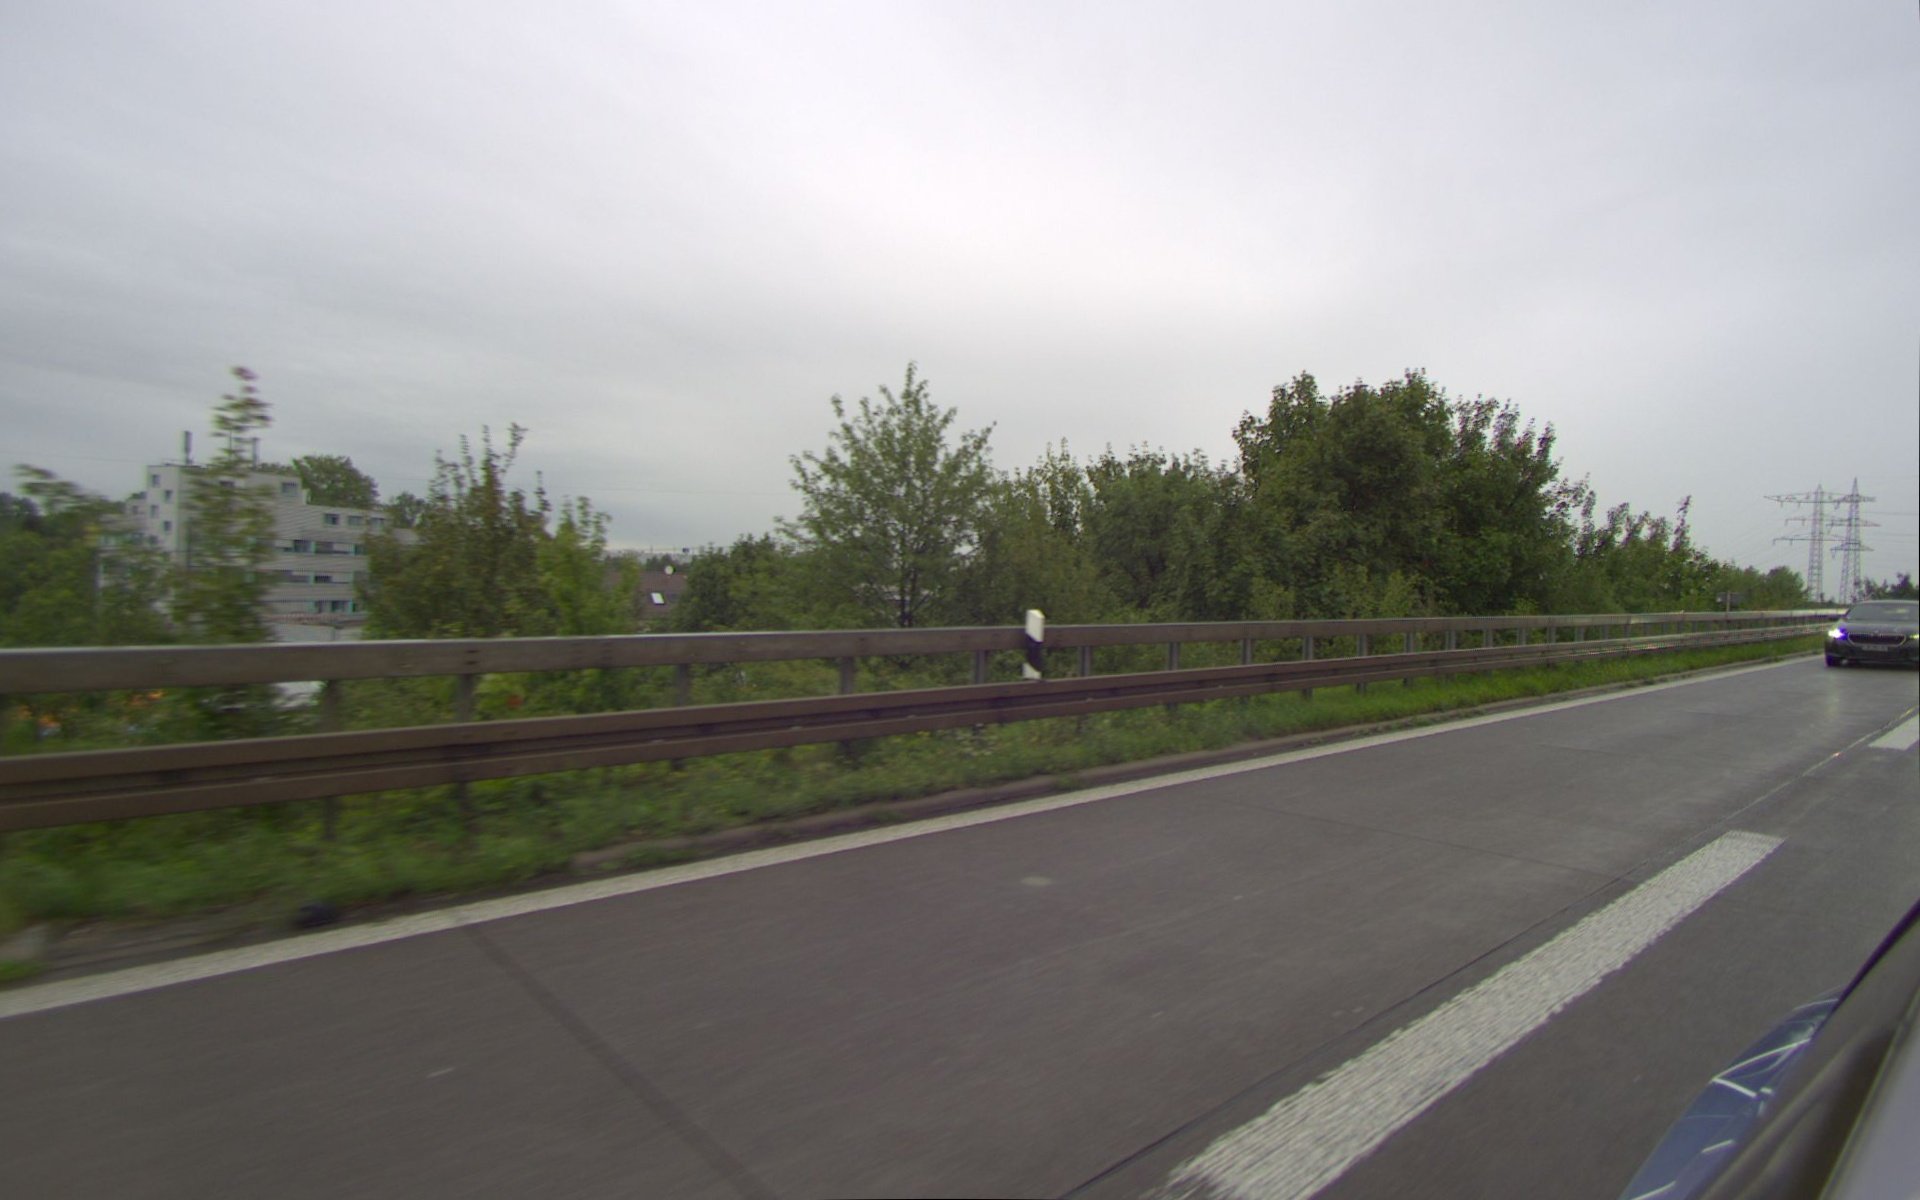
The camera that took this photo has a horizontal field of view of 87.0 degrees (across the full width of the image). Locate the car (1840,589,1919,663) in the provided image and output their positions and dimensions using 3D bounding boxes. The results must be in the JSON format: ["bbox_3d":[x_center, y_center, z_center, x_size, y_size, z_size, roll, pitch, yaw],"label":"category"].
[{"bbox_3d":[21.621,0.576,23.098,4.131,1.560,1.860,1,-1,-42],"label":"car"}]
